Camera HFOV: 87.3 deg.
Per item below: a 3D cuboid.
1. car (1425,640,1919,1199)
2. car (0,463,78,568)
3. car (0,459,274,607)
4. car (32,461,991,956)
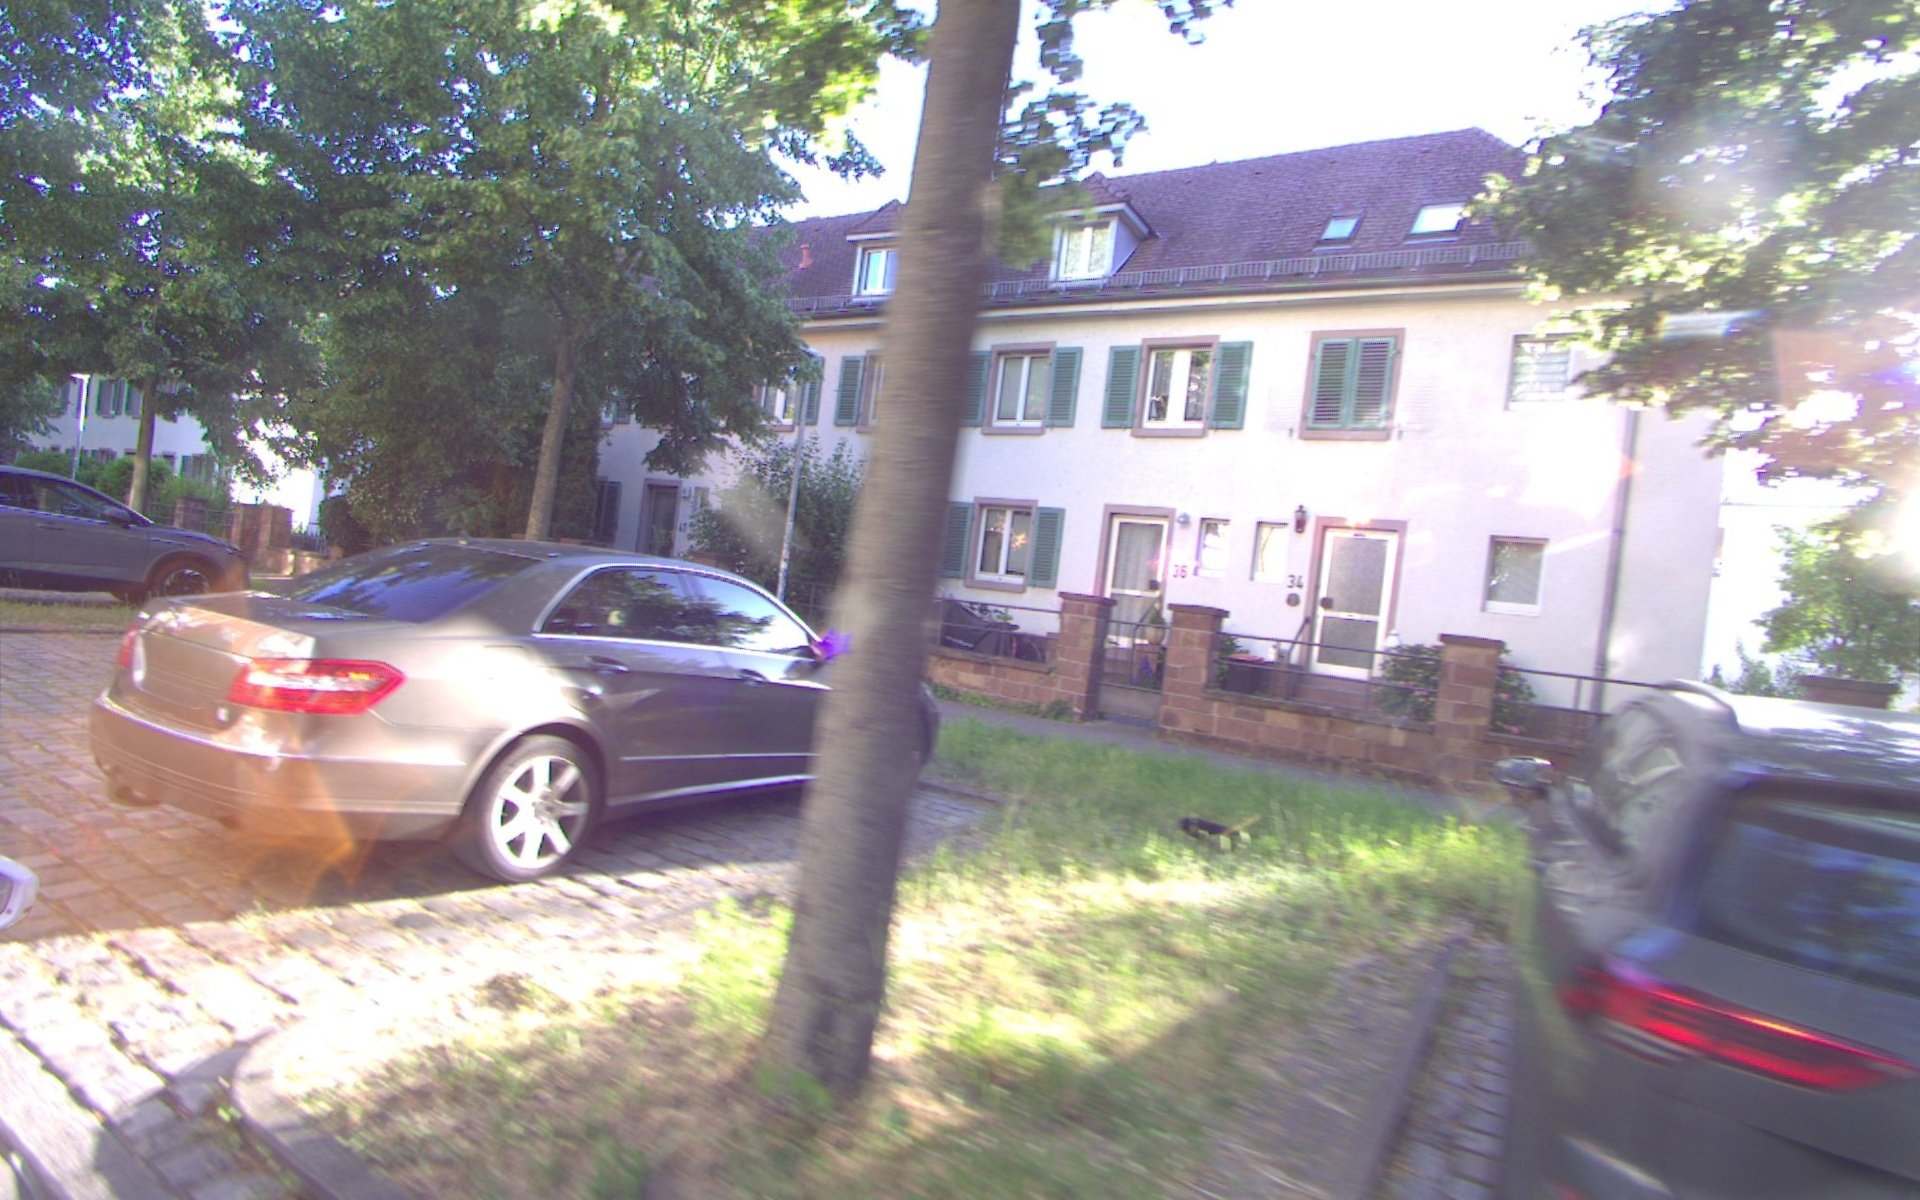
[{"bbox_3d":[2.777,0.981,3.207,1.798,1.455,4.475,7,2,32],"label":"car"},{"bbox_3d":[-17.479,-1.554,16.201,1.876,1.700,4.579,7,3,34],"label":"car"},{"bbox_3d":[-11.486,-0.866,12.514,1.844,1.655,4.476,7,2,31],"label":"car"},{"bbox_3d":[-1.840,0.343,5.821,1.862,1.560,4.839,7,2,30],"label":"car"}]
